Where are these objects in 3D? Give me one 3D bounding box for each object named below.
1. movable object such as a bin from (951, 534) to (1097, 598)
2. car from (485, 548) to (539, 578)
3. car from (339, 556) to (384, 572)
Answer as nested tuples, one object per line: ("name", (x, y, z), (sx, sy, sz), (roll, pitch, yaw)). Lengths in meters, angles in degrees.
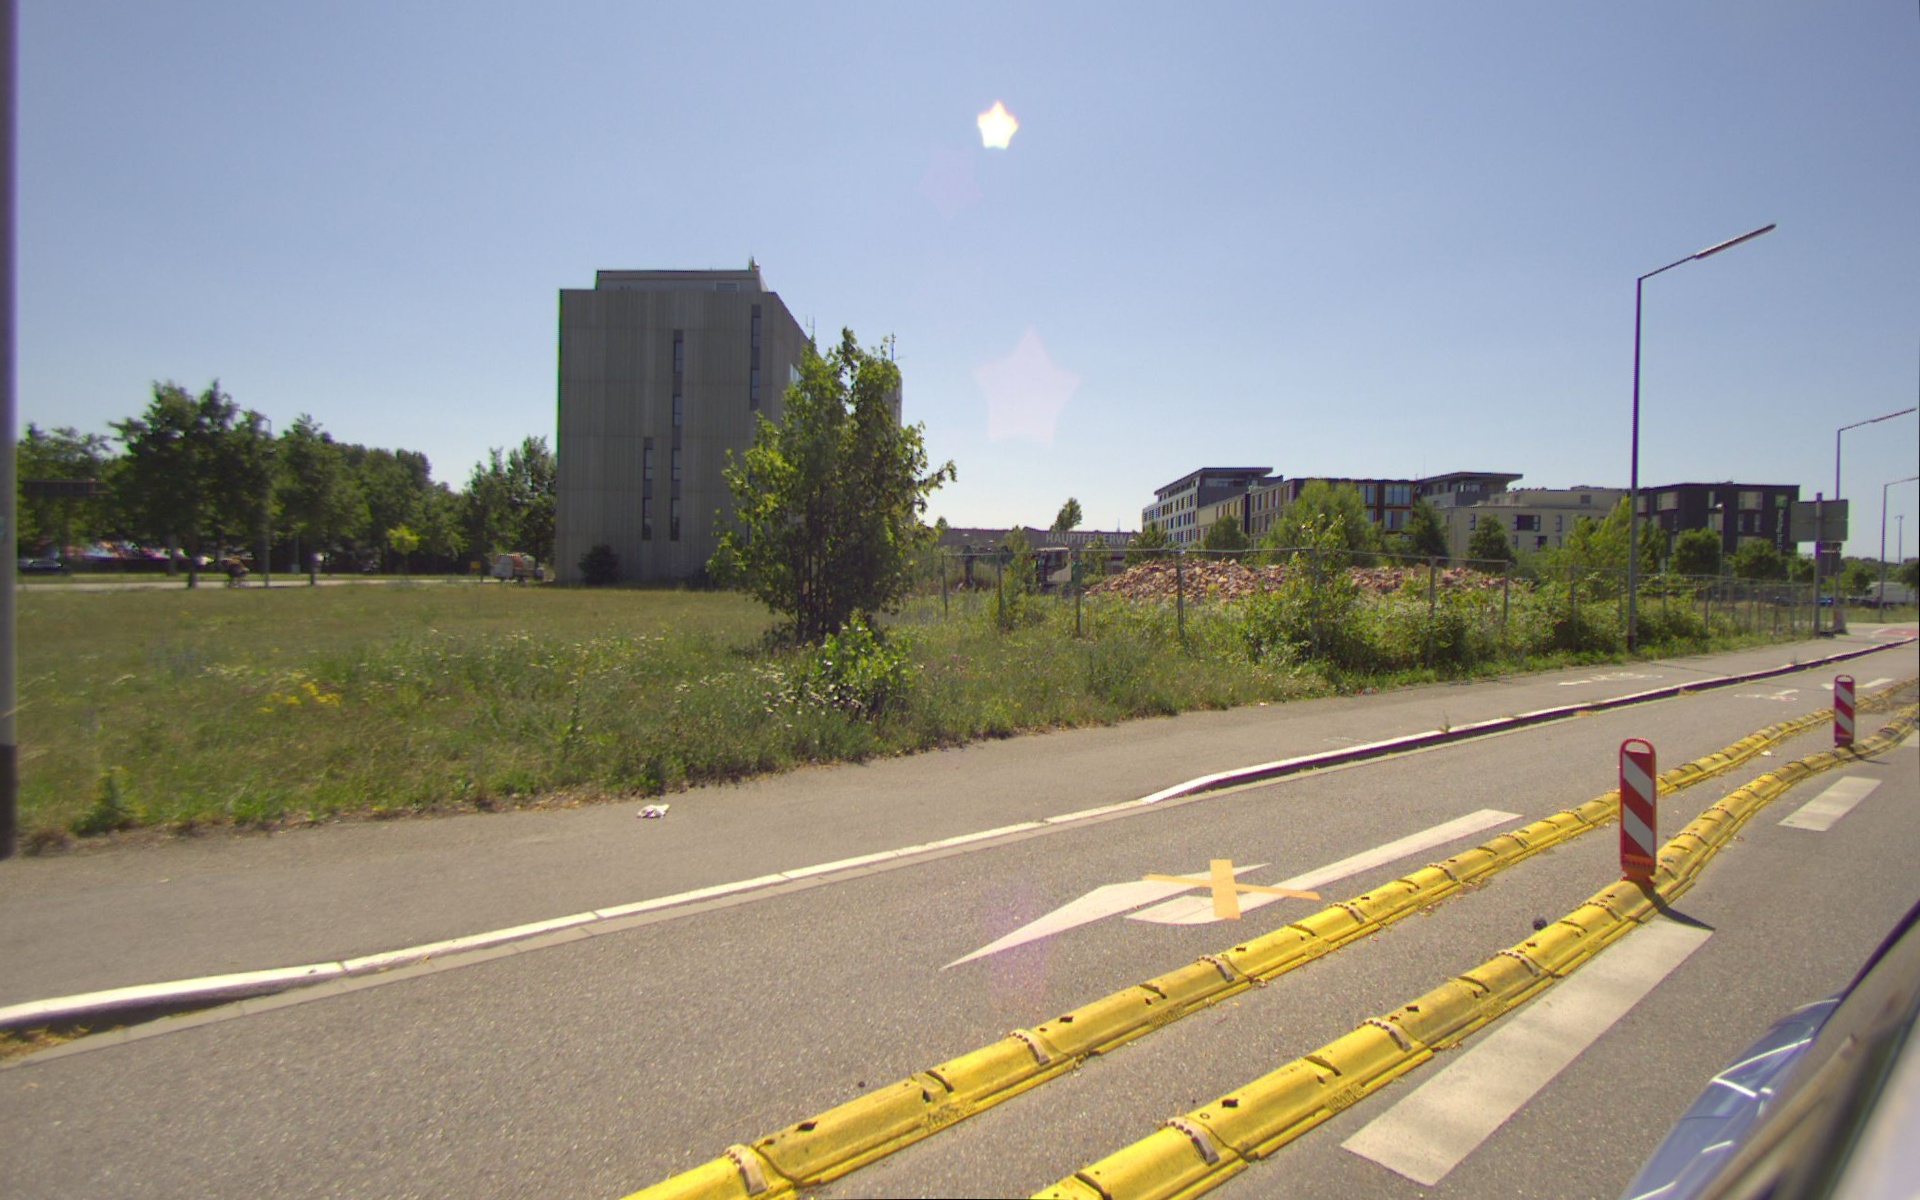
("movable object such as a bin", (3.428, -1.726, 53.102), (7.458, 3.188, 2.815), (-1, 0, -34))
("car", (-42.169, -3.467, 95.431), (2.220, 2.622, 6.394), (0, 0, 0))
("car", (-59.752, -3.592, 101.106), (1.830, 1.440, 4.407), (1, 1, 2))
